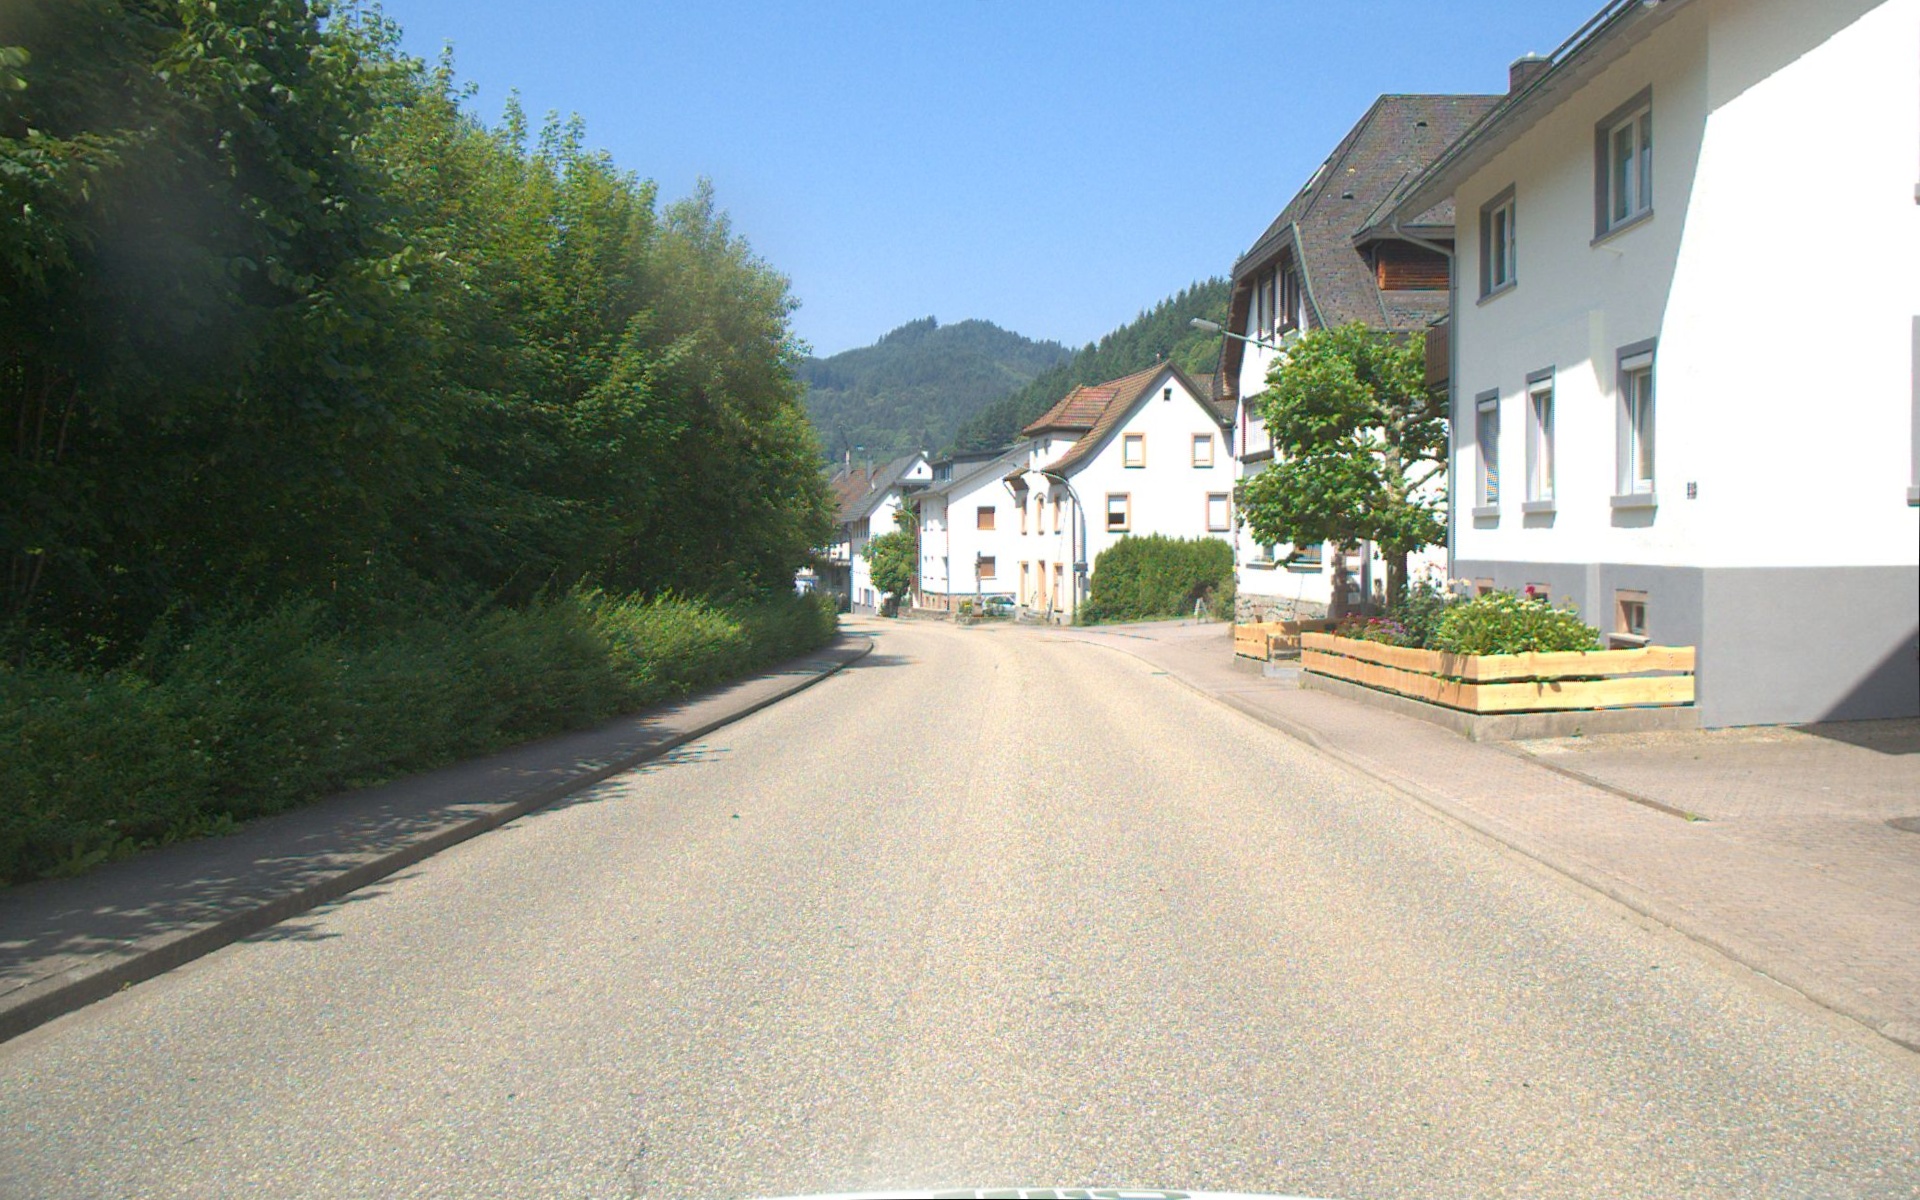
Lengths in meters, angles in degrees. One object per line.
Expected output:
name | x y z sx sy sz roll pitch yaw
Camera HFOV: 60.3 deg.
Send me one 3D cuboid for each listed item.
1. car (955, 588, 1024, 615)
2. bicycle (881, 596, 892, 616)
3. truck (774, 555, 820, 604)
car | 1.714 0.112 96.304 3.699 1.452 1.605 -2 0 35
bicycle | -5.357 0.427 120.709 0.418 1.420 2.271 -4 1 -10
truck | -14.618 -1.763 147.783 3.303 3.847 8.420 -4 -1 -10
